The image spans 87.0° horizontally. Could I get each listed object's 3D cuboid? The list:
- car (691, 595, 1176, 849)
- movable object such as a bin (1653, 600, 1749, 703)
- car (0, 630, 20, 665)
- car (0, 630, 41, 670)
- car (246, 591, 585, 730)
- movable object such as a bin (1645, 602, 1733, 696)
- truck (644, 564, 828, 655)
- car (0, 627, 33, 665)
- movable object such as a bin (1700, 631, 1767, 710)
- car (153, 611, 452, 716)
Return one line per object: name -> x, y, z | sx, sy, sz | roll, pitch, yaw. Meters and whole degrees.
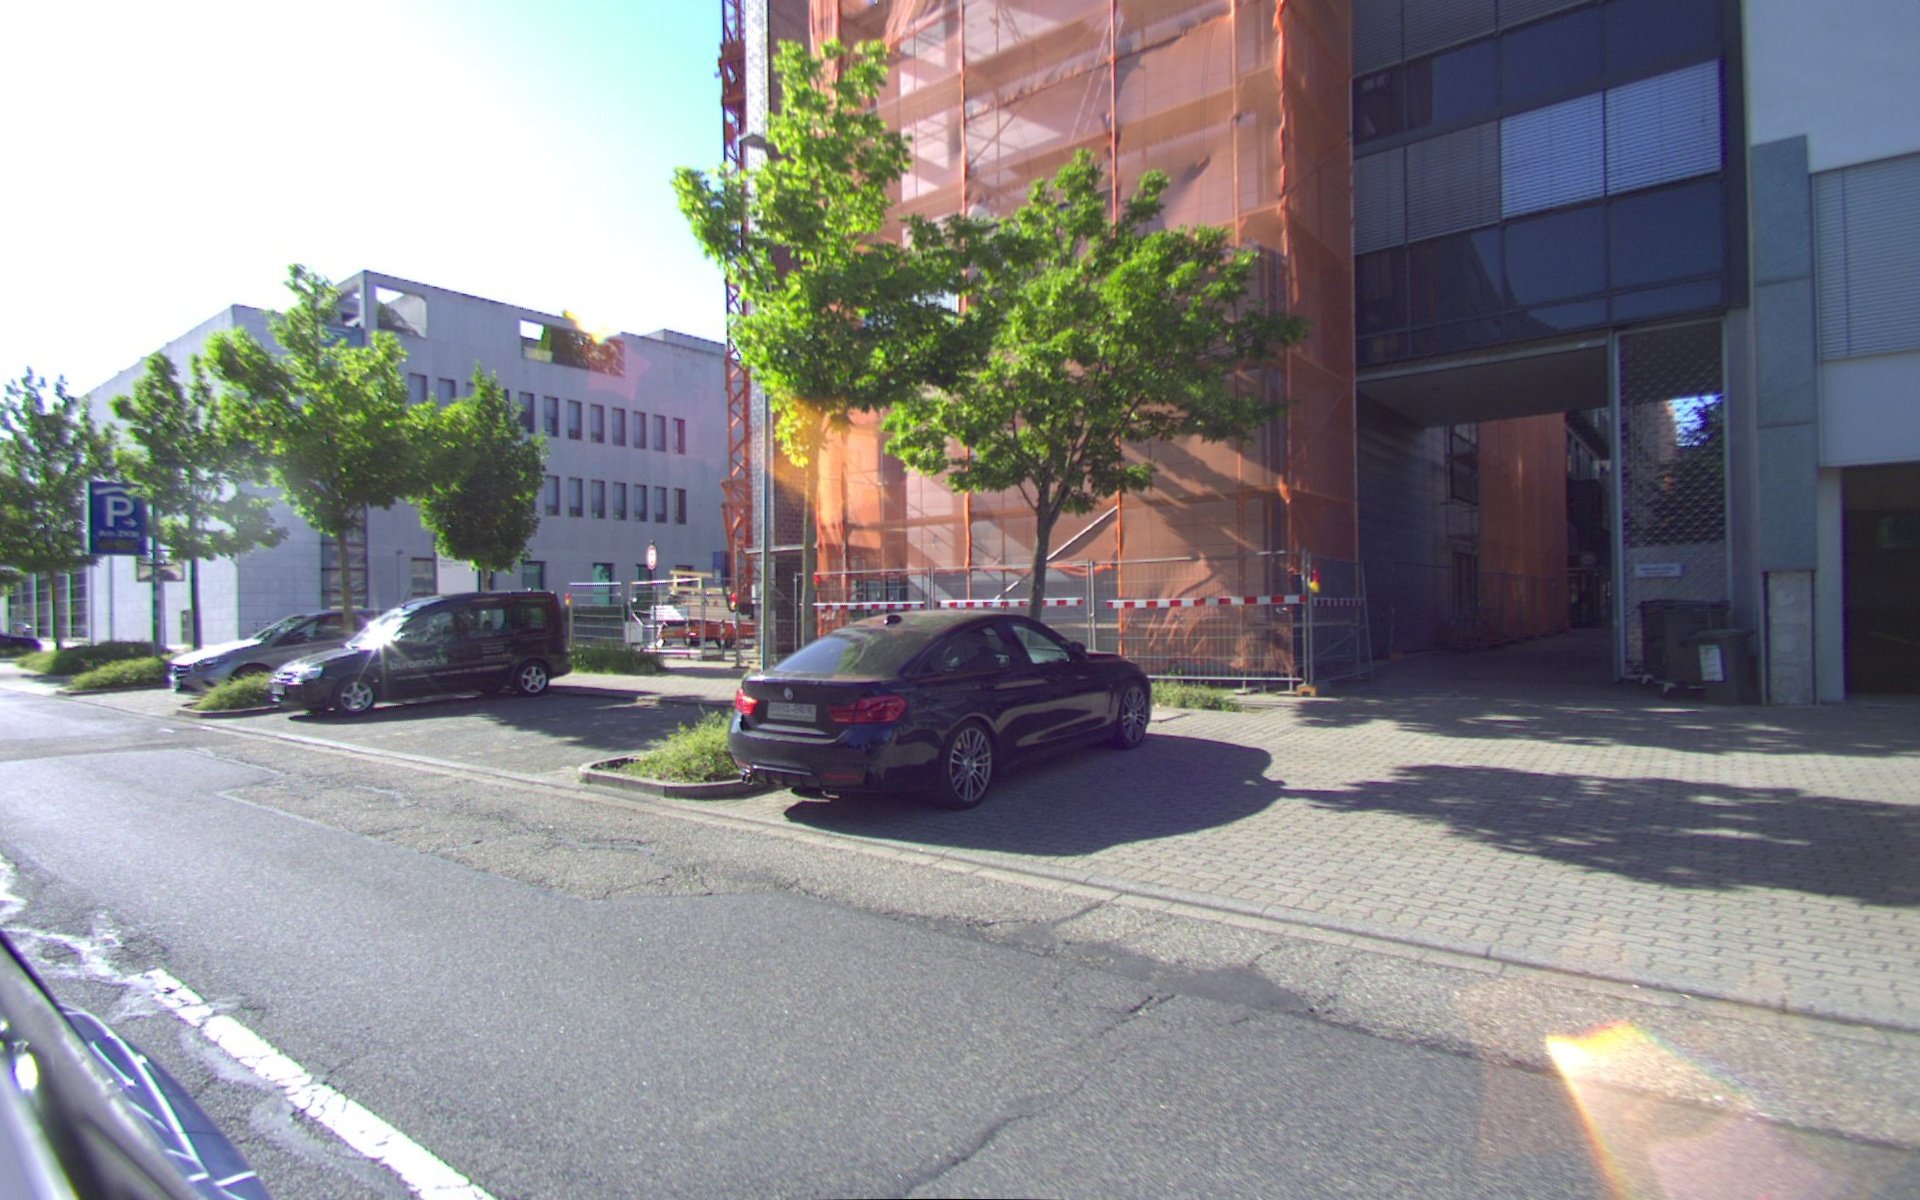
car -> 0.074, 0.781, 8.687 | 1.972, 1.442, 4.349 | -2, 1, 34
movable object such as a bin -> 9.833, 0.667, 13.426 | 0.913, 1.290, 1.223 | -2, -2, 41
car -> -44.696, 2.229, 44.797 | 1.691, 1.525, 4.265 | -2, 1, 37
car -> -39.559, 2.092, 40.194 | 1.716, 1.525, 4.265 | -2, 1, 37
car -> -8.500, 0.832, 16.149 | 1.845, 1.758, 4.343 | -2, 1, 39
movable object such as a bin -> 10.553, 0.694, 14.643 | 0.913, 1.290, 1.223 | -2, -2, 41
truck -> -7.273, 0.345, 33.427 | 2.267, 2.751, 5.783 | -2, -2, 40
car -> -42.827, 2.079, 43.424 | 1.691, 1.595, 4.265 | -2, 1, 37
movable object such as a bin -> 9.500, 0.848, 12.434 | 0.610, 0.934, 0.482 | -2, -2, 41
car -> -12.081, 1.078, 18.855 | 1.692, 1.525, 4.342 | -2, 1, 40
